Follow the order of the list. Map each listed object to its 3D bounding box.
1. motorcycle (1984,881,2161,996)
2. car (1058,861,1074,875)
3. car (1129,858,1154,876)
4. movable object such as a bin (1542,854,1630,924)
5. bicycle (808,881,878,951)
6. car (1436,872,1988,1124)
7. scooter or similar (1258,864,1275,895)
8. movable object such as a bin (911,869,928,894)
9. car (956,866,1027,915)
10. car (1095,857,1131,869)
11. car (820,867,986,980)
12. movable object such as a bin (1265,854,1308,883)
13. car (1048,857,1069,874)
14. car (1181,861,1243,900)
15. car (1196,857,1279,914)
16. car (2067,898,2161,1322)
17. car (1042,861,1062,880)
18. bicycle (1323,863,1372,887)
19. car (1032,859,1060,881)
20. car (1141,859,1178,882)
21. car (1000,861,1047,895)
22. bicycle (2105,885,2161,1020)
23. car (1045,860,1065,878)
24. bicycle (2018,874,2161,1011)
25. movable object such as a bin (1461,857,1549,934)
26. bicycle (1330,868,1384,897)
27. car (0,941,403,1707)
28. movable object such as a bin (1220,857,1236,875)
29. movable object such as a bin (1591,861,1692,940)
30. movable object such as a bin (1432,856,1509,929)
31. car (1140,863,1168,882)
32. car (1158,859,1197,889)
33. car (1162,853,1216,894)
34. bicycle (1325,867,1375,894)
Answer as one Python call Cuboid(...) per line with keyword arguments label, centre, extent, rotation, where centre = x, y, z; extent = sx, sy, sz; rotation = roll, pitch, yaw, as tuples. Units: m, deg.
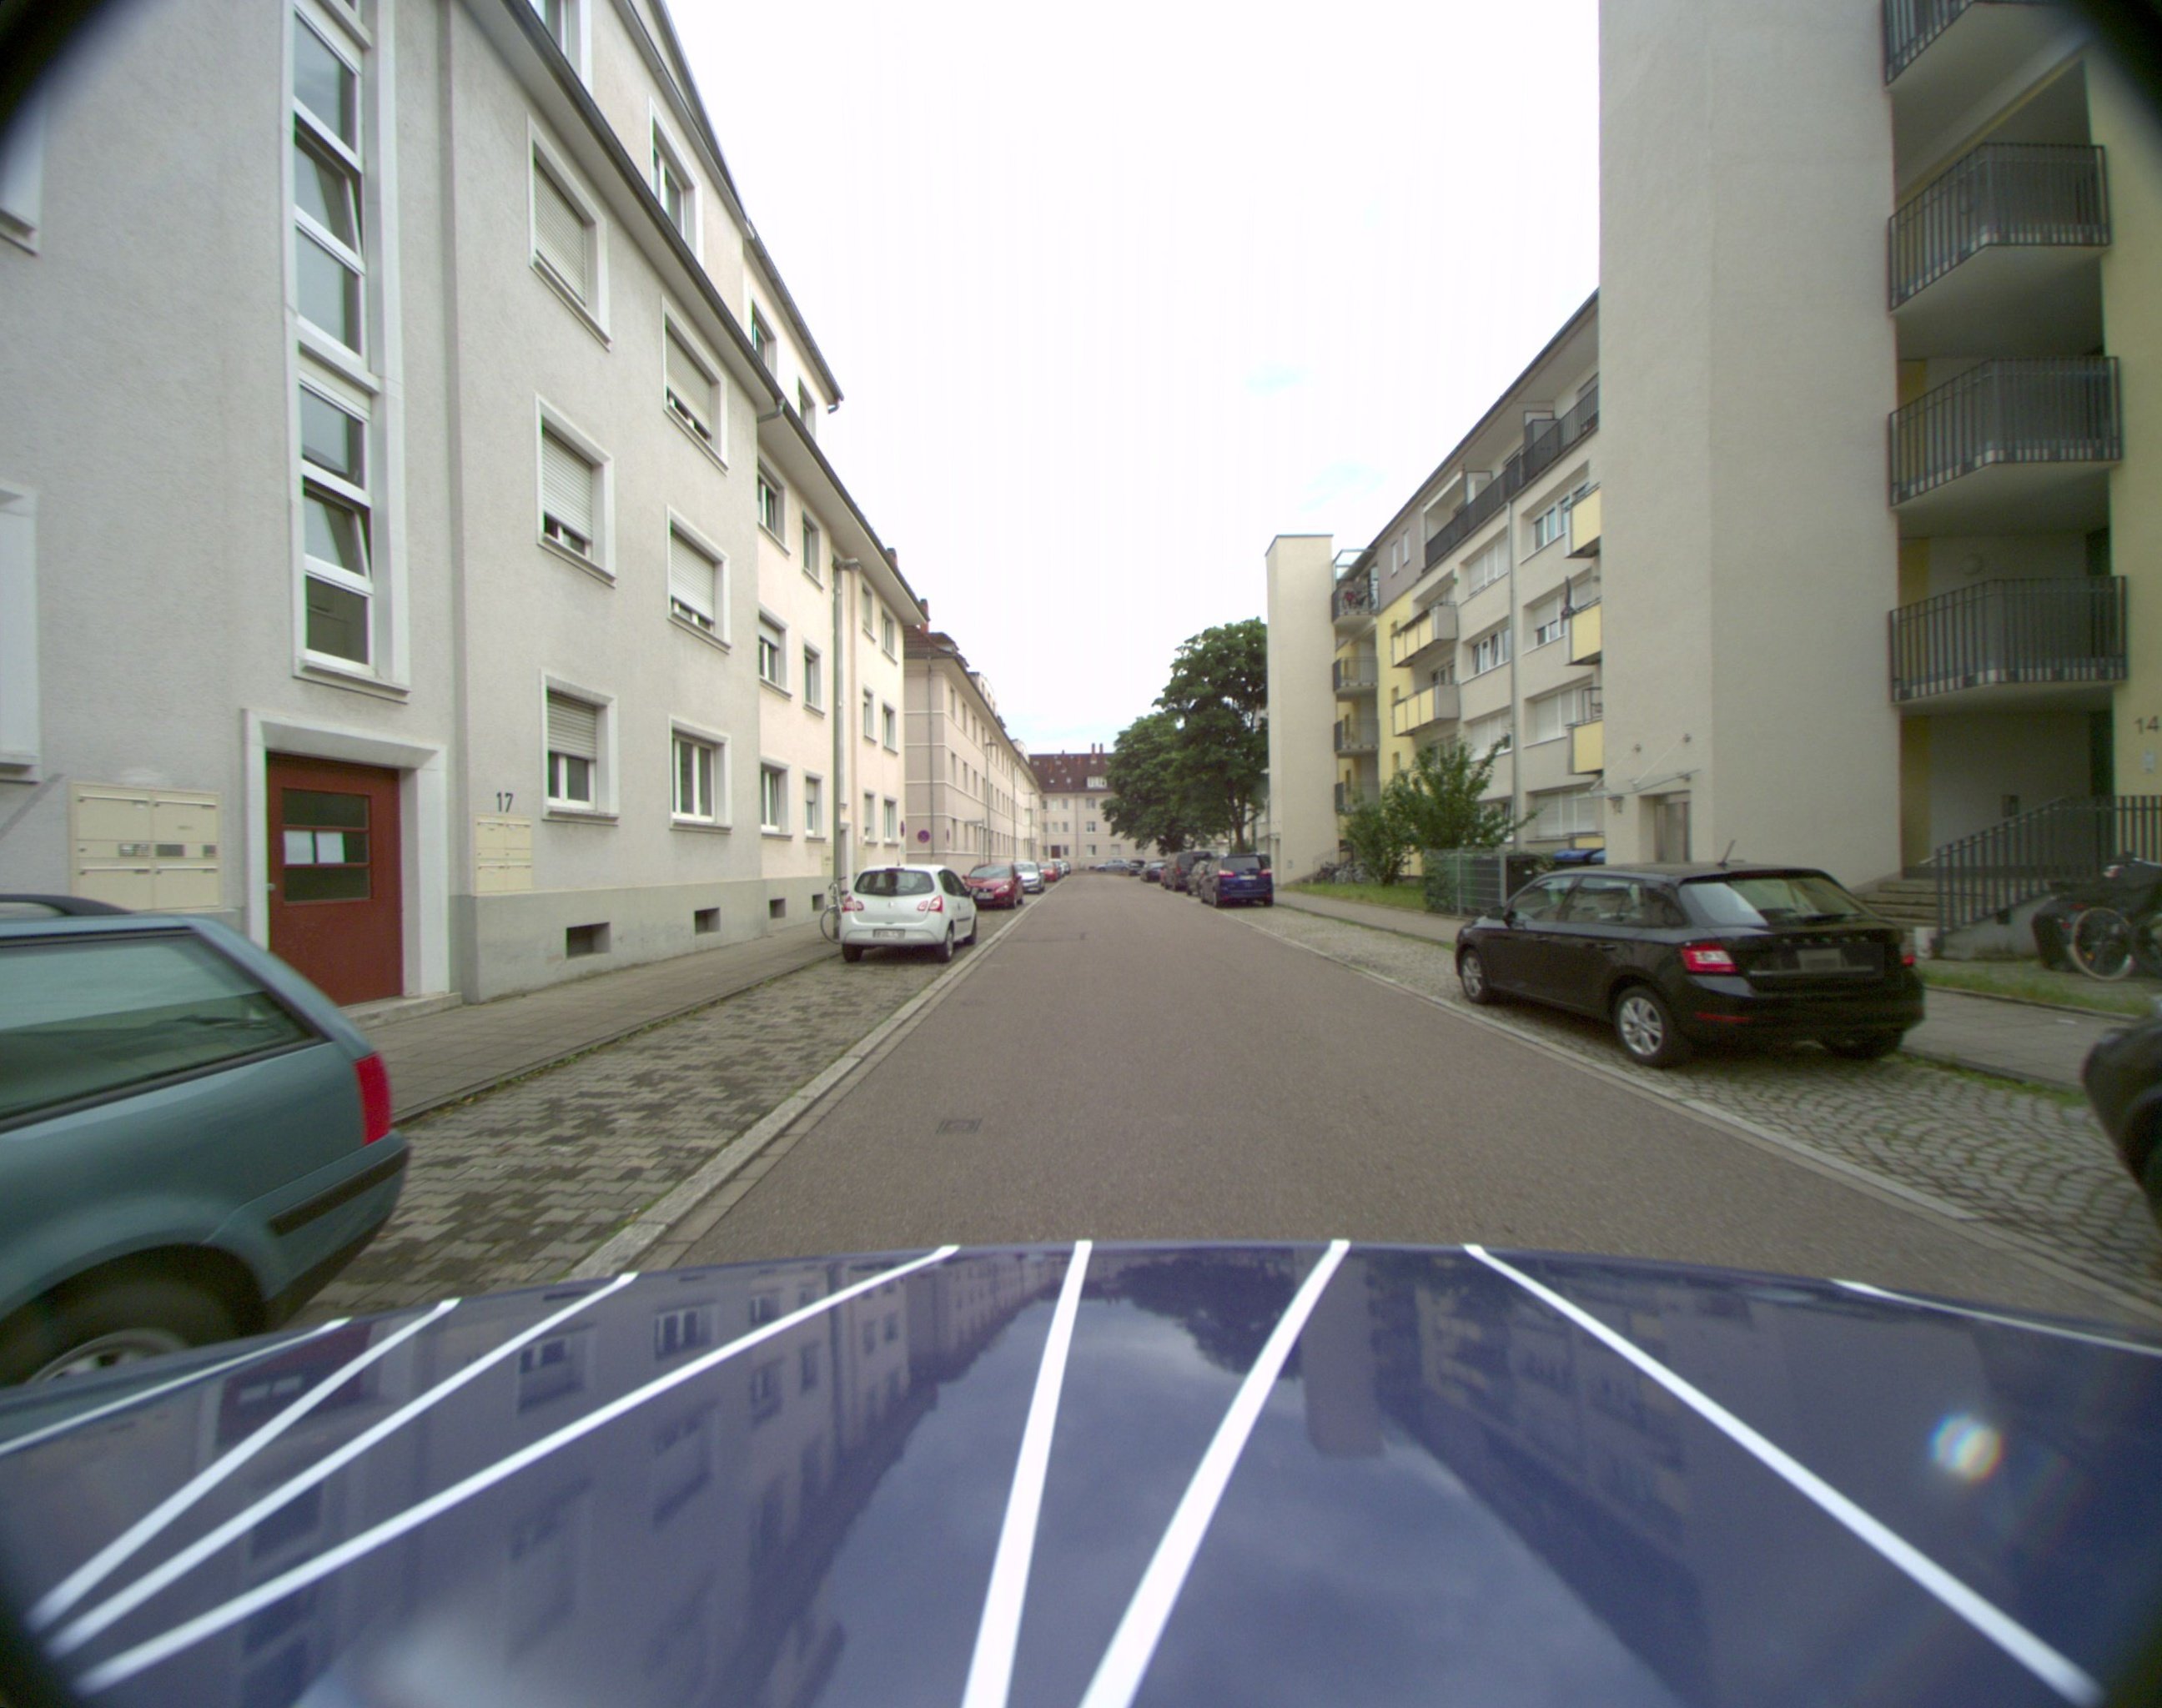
Cuboid(label="motorcycle", centre=(10.645, 0.855, 7.955), extent=(1.619, 1.122, 0.690), rotation=(0, 0, -3))
Cuboid(label="car", centre=(-1.623, 1.474, 80.798), extent=(1.563, 1.334, 3.789), rotation=(0, 0, 1))
Cuboid(label="car", centre=(5.692, 1.222, 72.171), extent=(2.000, 1.566, 4.210), rotation=(-3, 0, 1))
Cuboid(label="movable object such as a bin", centre=(10.889, 0.725, 16.439), extent=(1.004, 1.438, 1.314), rotation=(-2, 0, 1))
Cuboid(label="bicycle", centre=(-4.383, 1.109, 14.144), extent=(0.607, 1.133, 2.125), rotation=(0, 0, 0))
Cuboid(label="car", centre=(4.855, 0.954, 6.693), extent=(1.647, 1.430, 3.856), rotation=(-3, 0, 1))
Cuboid(label="scooter or similar", centre=(7.773, 1.057, 31.849), extent=(0.438, 1.236, 1.136), rotation=(0, 0, 1))
Cuboid(label="movable object such as a bin", centre=(-6.890, 1.172, 32.370), extent=(0.549, 1.036, 0.706), rotation=(0, 0, 3))
Cuboid(label="car", centre=(-2.776, 1.096, 24.370), extent=(1.758, 1.401, 3.937), rotation=(0, 0, 1))
Cuboid(label="car", centre=(4.026, 1.150, 95.404), extent=(4.545, 1.550, 1.565), rotation=(0, 0, 5))
Cuboid(label="car", centre=(-2.796, 1.033, 12.817), extent=(1.788, 1.590, 3.805), rotation=(0, 0, 2))
Cuboid(label="movable object such as a bin", centre=(11.053, 0.777, 41.002), extent=(1.617, 1.515, 2.541), rotation=(0, 0, 0))
Cuboid(label="car", centre=(-2.055, 1.051, 70.213), extent=(1.764, 1.595, 3.956), rotation=(0, 0, 1))
Cuboid(label="car", centre=(5.233, 1.032, 30.732), extent=(1.625, 1.437, 3.818), rotation=(-2, 0, -3))
Cuboid(label="car", centre=(4.998, 0.949, 24.826), extent=(1.804, 1.617, 4.472), rotation=(-2, 0, 1))
Cuboid(label="car", centre=(4.654, 0.909, 1.019), extent=(1.657, 1.521, 3.896), rotation=(-3, 0, 3))
Cuboid(label="car", centre=(-2.237, 1.254, 59.411), extent=(1.353, 1.404, 3.310), rotation=(0, 0, 1))
Cuboid(label="bicycle", centre=(11.307, 0.897, 32.294), extent=(1.855, 1.014, 0.671), rotation=(0, 0, 7))
Cuboid(label="car", centre=(-2.426, 1.079, 53.668), extent=(1.758, 1.477, 3.773), rotation=(0, 0, 1))
Cuboid(label="car", centre=(5.349, 1.133, 52.296), extent=(1.919, 1.431, 4.434), rotation=(-3, 0, -1))
Cuboid(label="car", centre=(-2.569, 1.048, 34.578), extent=(1.792, 1.455, 4.040), rotation=(0, 0, 1))
Cuboid(label="bicycle", centre=(10.066, 0.840, 6.563), extent=(1.727, 1.135, 0.609), rotation=(-1, 0, -4))
Cuboid(label="car", centre=(-2.206, 1.228, 64.789), extent=(1.587, 1.500, 3.486), rotation=(0, 0, 1))
Cuboid(label="bicycle", centre=(10.068, 0.804, 7.203), extent=(1.727, 1.218, 0.609), rotation=(0, 0, -4))
Cuboid(label="movable object such as a bin", centre=(8.432, 0.803, 15.175), extent=(1.004, 1.438, 1.314), rotation=(-2, 0, 1))
Cuboid(label="bicycle", centre=(10.879, 1.115, 30.009), extent=(1.857, 1.130, 0.716), rotation=(0, 0, -2))
Cuboid(label="car", centre=(-2.980, 0.999, 0.212), extent=(1.729, 1.460, 4.264), rotation=(0, 0, 0))
Cuboid(label="movable object such as a bin", centre=(12.005, 0.952, 62.174), extent=(1.184, 1.467, 0.889), rotation=(0, 0, 4))
Cuboid(label="movable object such as a bin", centre=(10.936, 0.883, 14.892), extent=(1.004, 1.438, 1.314), rotation=(-2, 0, 1))
Cuboid(label="movable object such as a bin", centre=(8.486, 0.809, 16.610), extent=(1.004, 1.492, 1.314), rotation=(-2, 0, 1))
Cuboid(label="car", centre=(5.481, 1.382, 57.662), extent=(1.765, 1.257, 4.210), rotation=(-3, 0, 1))
Cuboid(label="car", centre=(5.339, 1.081, 42.434), extent=(1.625, 1.559, 3.614), rotation=(0, 0, -1))
Cuboid(label="car", centre=(5.199, 0.908, 37.142), extent=(1.891, 1.844, 4.785), rotation=(-1, 0, 0))
Cuboid(label="bicycle", centre=(11.178, 1.095, 31.594), extent=(1.855, 1.130, 0.717), rotation=(0, 0, 7))
